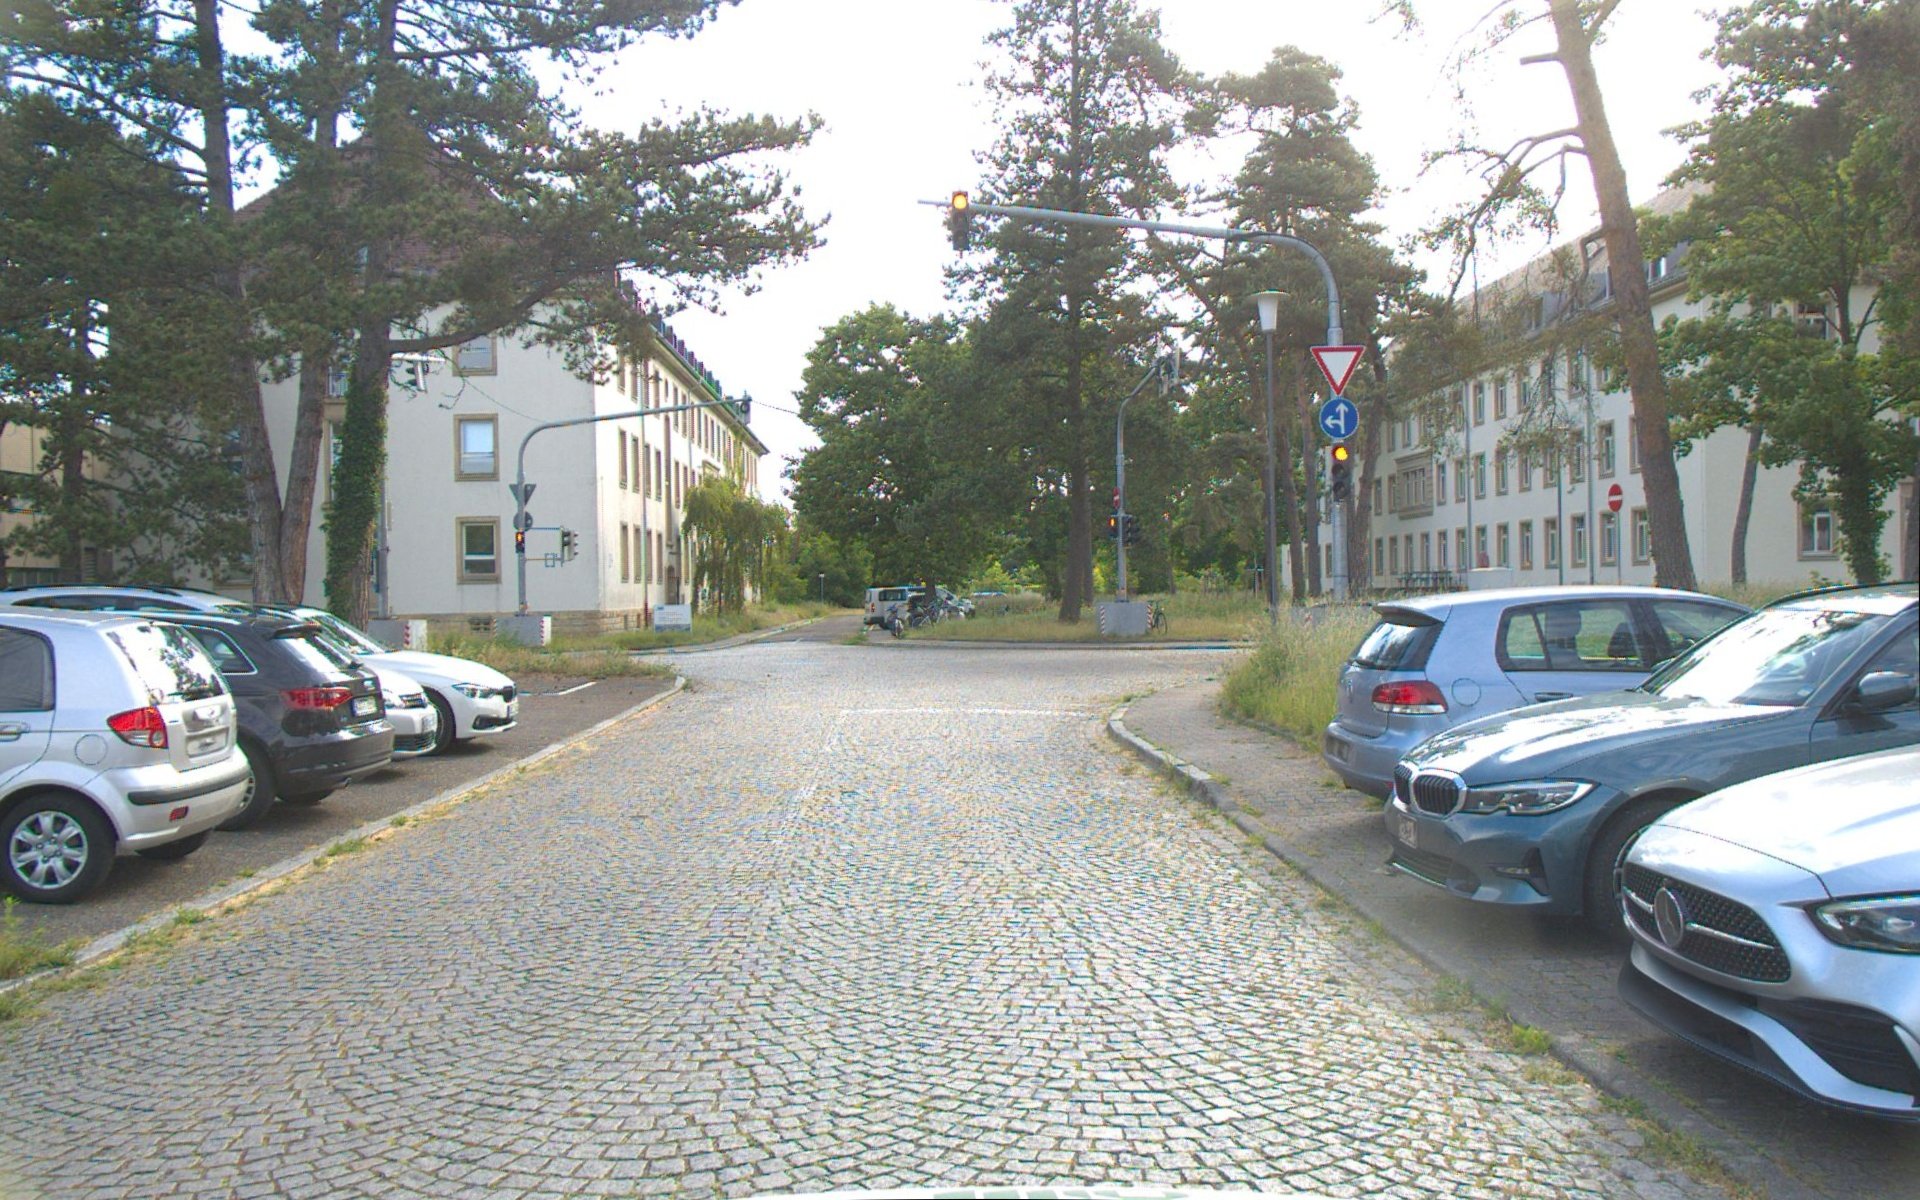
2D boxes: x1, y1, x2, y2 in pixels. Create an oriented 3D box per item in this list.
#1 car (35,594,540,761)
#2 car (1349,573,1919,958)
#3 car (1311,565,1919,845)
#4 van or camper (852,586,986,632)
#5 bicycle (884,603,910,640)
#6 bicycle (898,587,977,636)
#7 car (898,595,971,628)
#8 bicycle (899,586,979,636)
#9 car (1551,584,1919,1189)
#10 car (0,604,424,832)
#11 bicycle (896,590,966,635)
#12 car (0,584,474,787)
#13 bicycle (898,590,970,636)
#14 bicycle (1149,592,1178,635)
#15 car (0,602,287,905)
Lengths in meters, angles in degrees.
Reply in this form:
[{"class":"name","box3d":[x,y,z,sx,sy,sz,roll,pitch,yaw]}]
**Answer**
[{"class":"car","box3d":[-6.740,0.763,17.006,4.391,1.467,1.828,2,0,-6]},{"class":"car","box3d":[4.277,0.633,7.752,4.424,1.509,1.806,-1,0,-5]},{"class":"car","box3d":[4.289,0.587,10.362,3.766,1.496,1.641,-2,0,-3]},{"class":"van or camper","box3d":[-1.905,0.397,77.176,5.934,1.983,1.991,-1,0,-16]},{"class":"bicycle","box3d":[-2.081,0.691,54.910,0.711,1.127,2.461,-6,0,-1]},{"class":"bicycle","box3d":[-0.831,0.412,60.435,2.725,1.723,1.118,-1,0,-10]},{"class":"car","box3d":[-1.164,0.508,73.625,3.079,1.378,1.617,-1,0,-8]},{"class":"bicycle","box3d":[-0.765,0.385,59.243,2.723,1.723,1.118,-1,0,-8]},{"class":"car","box3d":[4.265,0.644,5.076,4.240,1.453,1.766,-2,0,-3]},{"class":"car","box3d":[-5.968,0.778,11.740,3.759,1.433,1.694,1,0,-3]},{"class":"bicycle","box3d":[-1.132,0.494,65.328,2.719,1.724,1.120,1,0,-1]},{"class":"car","box3d":[-6.429,0.718,14.662,3.756,1.635,1.734,1,0,-5]},{"class":"bicycle","box3d":[-1.004,0.508,63.995,2.718,1.724,1.120,1,0,2]},{"class":"bicycle","box3d":[5.856,0.373,47.694,0.708,1.189,2.738,1,0,4]},{"class":"car","box3d":[-5.803,0.757,9.096,3.506,1.501,1.646,1,0,-5]}]
